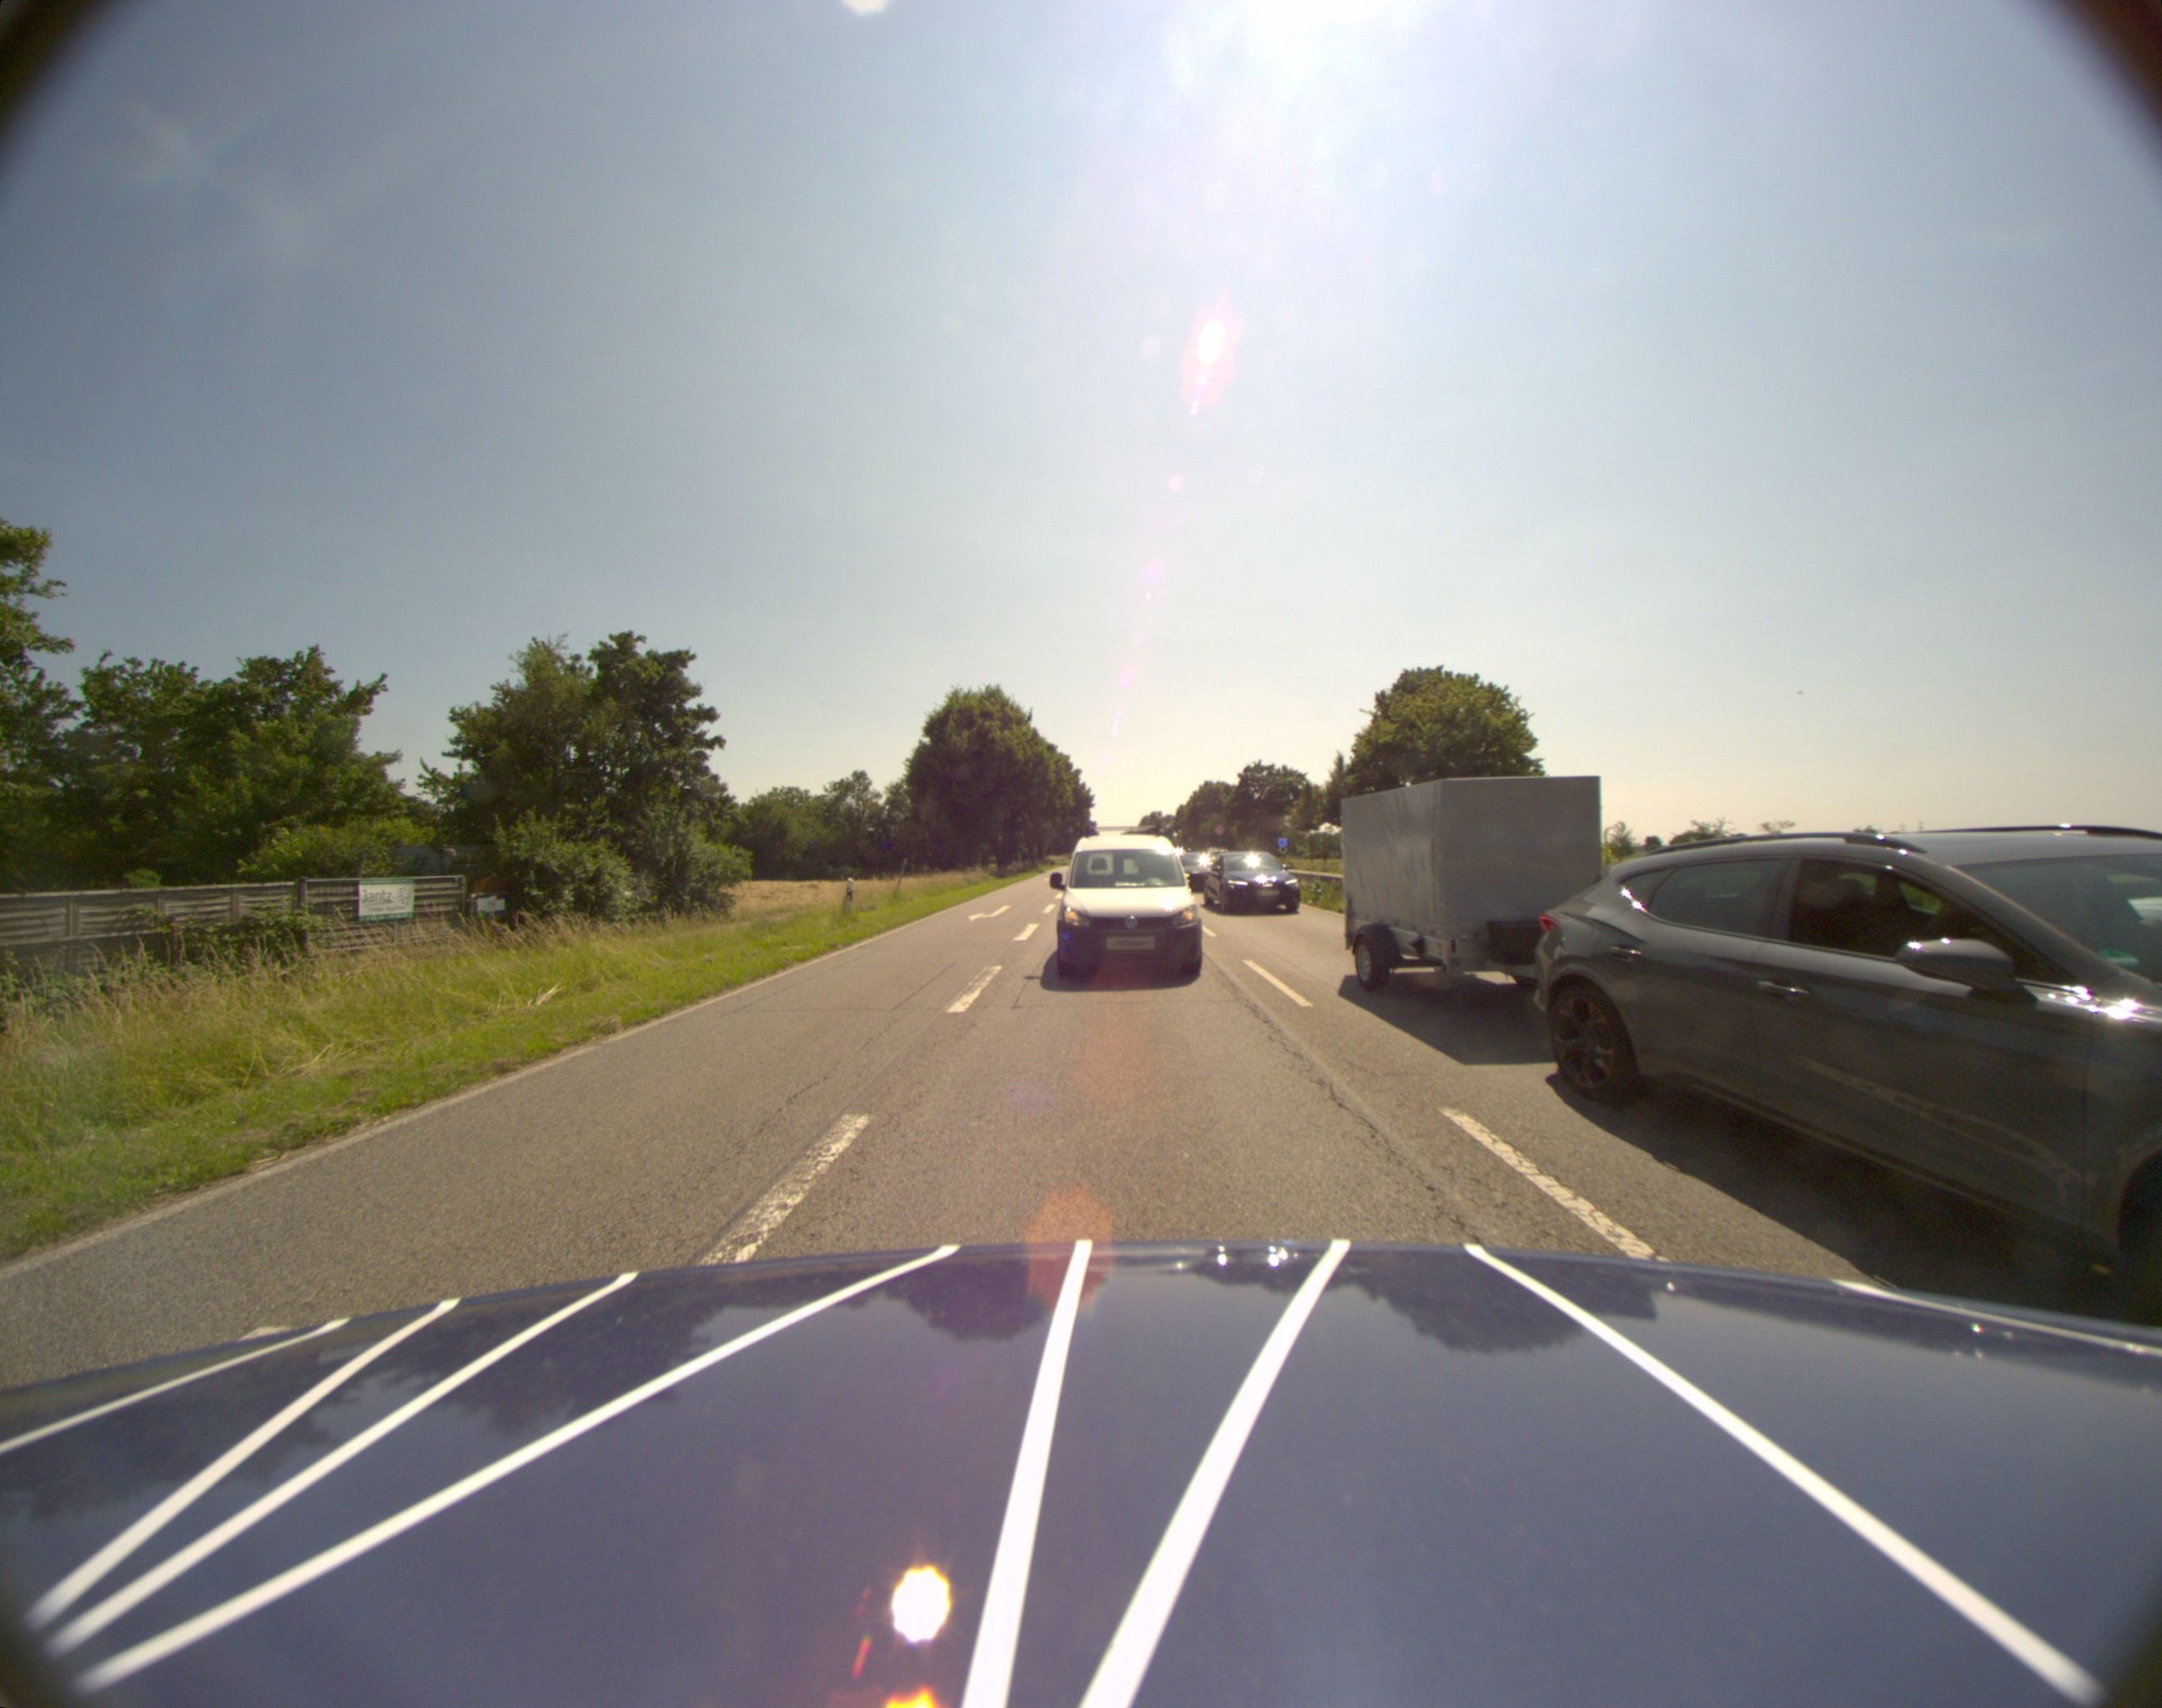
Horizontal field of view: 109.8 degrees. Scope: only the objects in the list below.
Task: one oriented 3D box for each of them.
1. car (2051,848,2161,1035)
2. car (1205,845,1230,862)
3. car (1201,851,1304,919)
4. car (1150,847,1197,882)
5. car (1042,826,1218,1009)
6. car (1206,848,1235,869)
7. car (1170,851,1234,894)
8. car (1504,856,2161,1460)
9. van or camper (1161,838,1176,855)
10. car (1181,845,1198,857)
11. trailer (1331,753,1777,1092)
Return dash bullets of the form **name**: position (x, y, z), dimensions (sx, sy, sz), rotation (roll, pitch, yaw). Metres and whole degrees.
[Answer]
- **car**: position (10.175, 0.754, 5.211), dimensions (1.750, 1.608, 4.135), rotation (0, 0, 0)
- **car**: position (15.477, -0.078, 86.219), dimensions (1.998, 1.920, 5.015), rotation (0, 0, 0)
- **car**: position (4.183, 0.689, 19.114), dimensions (1.721, 1.456, 4.030), rotation (-2, 1, 1)
- **car**: position (4.374, 0.472, 36.477), dimensions (1.860, 1.507, 4.100), rotation (-2, 1, 2)
- **car**: position (0.576, 0.645, 10.281), dimensions (1.777, 1.863, 4.581), rotation (-2, 1, 2)
- **car**: position (10.956, 0.331, 59.866), dimensions (1.749, 1.629, 4.136), rotation (0, 0, 3)
- **car**: position (4.381, 0.617, 28.105), dimensions (1.744, 1.372, 4.455), rotation (-2, 1, 2)
- **car**: position (3.669, 0.799, 2.821), dimensions (1.750, 1.494, 4.362), rotation (-2, 0, 0)
- **van or camper**: position (16.625, -1.423, 144.355), dimensions (2.269, 3.081, 5.695), rotation (0, 0, 0)
- **car**: position (16.254, -0.462, 114.246), dimensions (1.862, 1.845, 4.696), rotation (0, 0, 0)
- **trailer**: position (3.762, 0.436, 7.019), dimensions (1.504, 2.160, 4.174), rotation (-2, 0, 0)
